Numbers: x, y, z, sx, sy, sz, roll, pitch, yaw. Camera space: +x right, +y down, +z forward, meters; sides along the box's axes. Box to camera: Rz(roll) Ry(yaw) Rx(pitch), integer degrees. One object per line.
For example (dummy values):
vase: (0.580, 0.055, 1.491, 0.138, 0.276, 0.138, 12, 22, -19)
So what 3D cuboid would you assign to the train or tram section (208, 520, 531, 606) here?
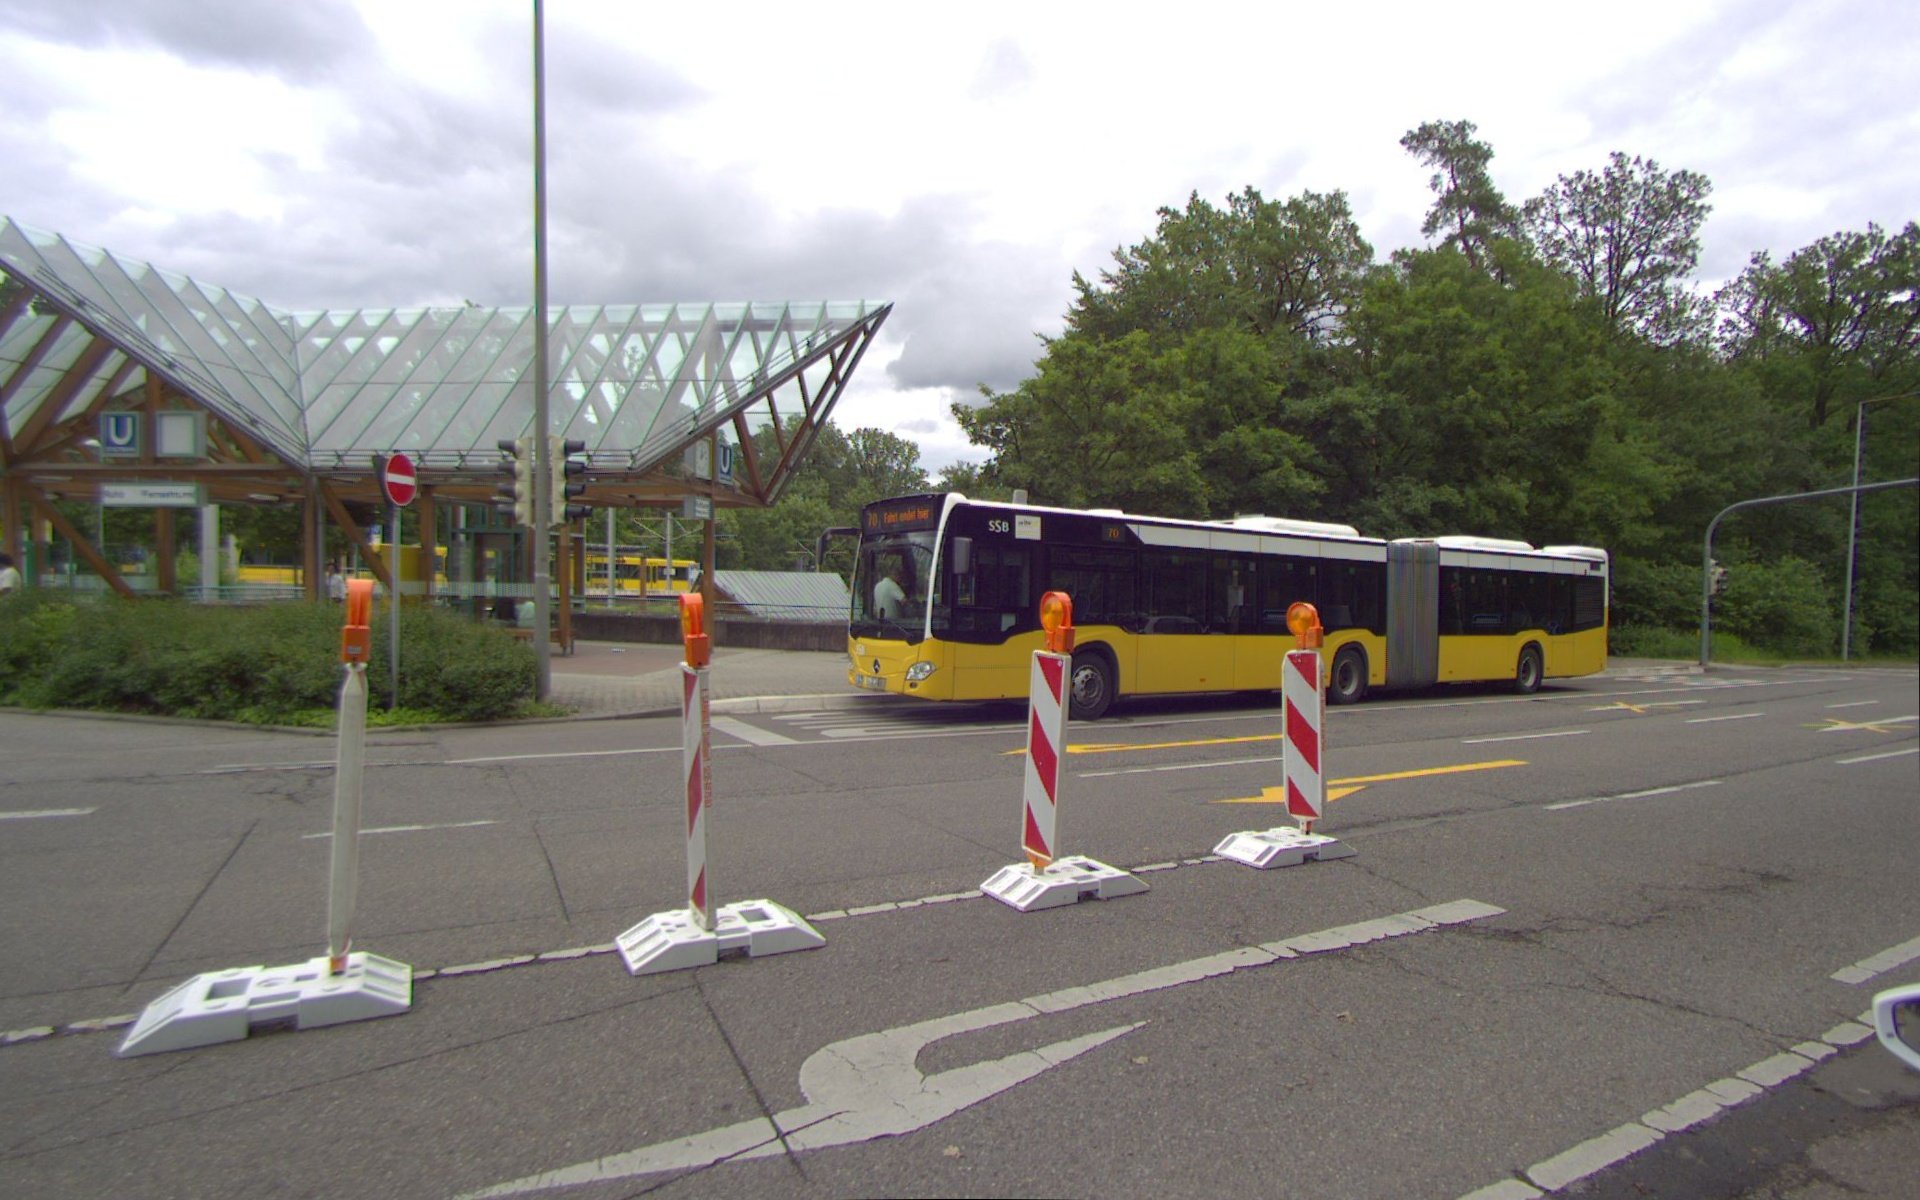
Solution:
train or tram section: (-35.952, -2.237, 63.204, 3.519, 4.595, 18.660, 3, 2, 26)

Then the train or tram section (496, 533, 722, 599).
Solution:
train or tram section: (-27.337, -2.640, 80.843, 3.519, 4.595, 20.628, 3, 2, 26)

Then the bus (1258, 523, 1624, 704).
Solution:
bus: (10.320, 0.293, 21.125, 8.601, 3.169, 2.882, 1, 0, -33)

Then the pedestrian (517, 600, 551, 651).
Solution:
pedestrian: (-8.536, 0.506, 20.133, 0.556, 0.997, 0.556, 1, 2, -15)

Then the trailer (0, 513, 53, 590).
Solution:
trailer: (-52.615, -2.483, 49.085, 3.727, 3.934, 11.824, 3, 3, 36)

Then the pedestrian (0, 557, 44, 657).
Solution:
pedestrian: (-15.886, 0.096, 16.729, 0.662, 1.618, 0.673, 2, 2, 19)

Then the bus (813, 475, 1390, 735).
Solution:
bus: (2.682, 0.130, 16.122, 9.655, 3.169, 2.882, 1, 0, -33)

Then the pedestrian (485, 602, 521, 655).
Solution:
pedestrian: (-9.081, 0.564, 19.986, 0.556, 0.997, 0.547, 1, 2, -15)
